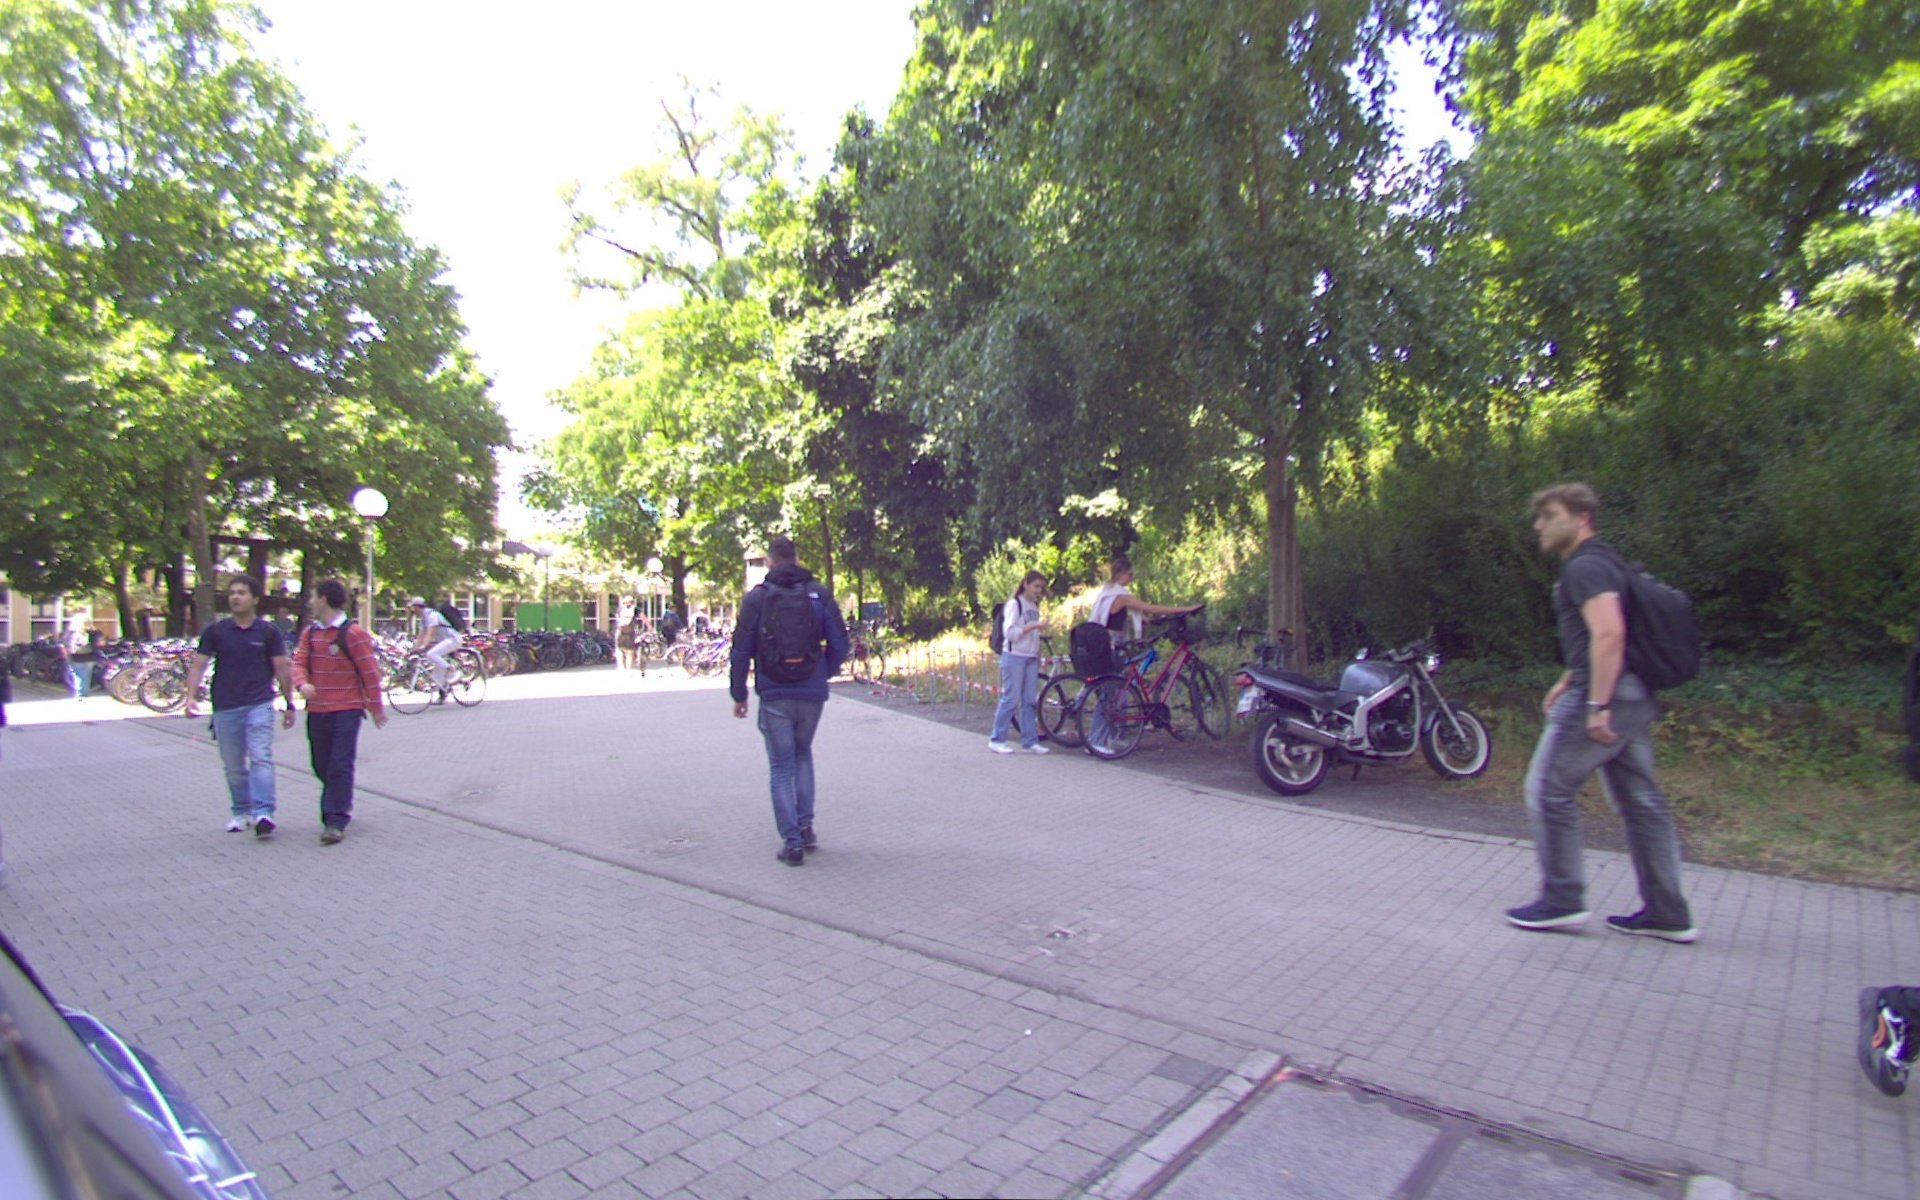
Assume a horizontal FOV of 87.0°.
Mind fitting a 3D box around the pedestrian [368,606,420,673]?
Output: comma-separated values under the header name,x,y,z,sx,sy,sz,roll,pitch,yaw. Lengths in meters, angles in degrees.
name,x,y,z,sx,sy,sz,roll,pitch,yaw
pedestrian,-14.981,1.039,26.793,0.894,1.715,0.770,-2,0,-2

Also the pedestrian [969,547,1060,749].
name,x,y,z,sx,sy,sz,roll,pitch,yaw
pedestrian,0.500,0.424,9.159,0.722,1.737,0.685,-2,-1,5

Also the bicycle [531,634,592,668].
name,x,y,z,sx,sy,sz,roll,pitch,yaw
bicycle,-12.287,1.563,31.216,1.717,0.969,0.452,-2,0,3

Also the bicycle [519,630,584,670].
name,x,y,z,sx,sy,sz,roll,pitch,yaw
bicycle,-12.095,1.466,29.996,1.673,1.091,0.475,-2,0,-6

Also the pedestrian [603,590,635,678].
name,x,y,z,sx,sy,sz,roll,pitch,yaw
pedestrian,-7.411,0.734,22.038,0.604,1.849,1.053,-2,0,-18

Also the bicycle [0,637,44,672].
name,x,y,z,sx,sy,sz,roll,pitch,yaw
bicycle,-32.251,1.871,34.377,0.497,1.116,1.608,-5,-3,41

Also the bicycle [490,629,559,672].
name,x,y,z,sx,sy,sz,roll,pitch,yaw
bicycle,-12.090,1.391,28.103,1.671,1.091,0.475,-2,0,-14

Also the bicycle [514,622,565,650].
name,x,y,z,sx,sy,sz,roll,pitch,yaw
bicycle,-18.005,1.555,43.342,2.007,1.116,0.501,-2,0,9

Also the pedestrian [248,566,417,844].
name,x,y,z,sx,sy,sz,roll,pitch,yaw
pedestrian,-4.297,0.674,7.005,0.707,1.737,1.067,-2,-1,-16

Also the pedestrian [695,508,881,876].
name,x,y,z,sx,sy,sz,roll,pitch,yaw
pedestrian,-0.963,0.468,5.782,0.874,1.871,1.034,-3,0,-8

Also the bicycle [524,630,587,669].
name,x,y,z,sx,sy,sz,roll,pitch,yaw
bicycle,-12.187,1.484,30.523,1.673,1.091,0.475,-2,0,-6

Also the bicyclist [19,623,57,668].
name,x,y,z,sx,sy,sz,roll,pitch,yaw
bicyclist,-37.082,1.820,40.716,0.762,1.729,0.913,0,-1,-8

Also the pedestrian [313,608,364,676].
name,x,y,z,sx,sy,sz,roll,pitch,yaw
pedestrian,-16.222,1.084,26.439,0.892,1.715,0.772,-2,0,-12

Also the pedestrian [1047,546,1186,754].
name,x,y,z,sx,sy,sz,roll,pitch,yaw
pedestrian,1.371,0.414,8.927,0.921,1.737,0.679,-1,-1,-26

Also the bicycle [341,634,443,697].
name,x,y,z,sx,sy,sz,roll,pitch,yaw
bicycle,-10.886,1.235,19.435,1.670,1.091,0.475,-2,0,-29

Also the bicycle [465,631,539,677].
name,x,y,z,sx,sy,sz,roll,pitch,yaw
bicycle,-11.982,1.406,26.507,1.671,1.091,0.475,-2,0,-14

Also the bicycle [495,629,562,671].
name,x,y,z,sx,sy,sz,roll,pitch,yaw
bicycle,-12.182,1.415,28.604,1.671,1.091,0.475,-2,0,-14

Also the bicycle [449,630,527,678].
name,x,y,z,sx,sy,sz,roll,pitch,yaw
bicycle,-11.789,1.342,25.328,1.671,1.091,0.475,-2,0,-14

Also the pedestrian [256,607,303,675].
name,x,y,z,sx,sy,sz,roll,pitch,yaw
pedestrian,-18.598,1.112,27.660,0.701,1.820,0.768,-2,0,8

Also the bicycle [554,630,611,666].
name,x,y,z,sx,sy,sz,roll,pitch,yaw
bicycle,-12.300,1.573,33.003,1.677,1.091,0.474,-2,0,3

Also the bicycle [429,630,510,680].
name,x,y,z,sx,sy,sz,roll,pitch,yaw
bicycle,-11.773,1.304,24.319,1.671,1.091,0.475,-2,0,-14

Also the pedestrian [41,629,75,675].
name,x,y,z,sx,sy,sz,roll,pitch,yaw
pedestrian,-33.584,1.923,37.684,0.868,1.668,0.704,-1,-2,-37

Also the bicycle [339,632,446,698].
name,x,y,z,sx,sy,sz,roll,pitch,yaw
bicycle,-10.620,1.198,18.972,1.695,1.091,0.475,-2,0,-34

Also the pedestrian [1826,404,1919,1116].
name,x,y,z,sx,sy,sz,roll,pitch,yaw
pedestrian,2.795,0.375,2.517,0.903,1.737,0.677,-2,0,39

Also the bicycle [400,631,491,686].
name,x,y,z,sx,sy,sz,roll,pitch,yaw
bicycle,-11.257,1.275,22.174,1.673,1.091,0.475,-2,0,-7

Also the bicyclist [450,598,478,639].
name,x,y,z,sx,sy,sz,roll,pitch,yaw
bicyclist,-23.889,0.867,48.759,0.798,1.906,0.863,-3,-1,15

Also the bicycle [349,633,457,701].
name,x,y,z,sx,sy,sz,roll,pitch,yaw
bicycle,-10.232,1.202,18.616,1.672,1.118,0.475,-2,0,-36

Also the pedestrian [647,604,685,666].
name,x,y,z,sx,sy,sz,roll,pitch,yaw
pedestrian,-8.903,1.049,30.661,0.823,1.829,0.882,-2,0,1

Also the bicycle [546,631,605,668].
name,x,y,z,sx,sy,sz,roll,pitch,yaw
bicycle,-12.250,1.574,32.227,1.677,1.091,0.474,-2,0,3

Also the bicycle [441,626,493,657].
name,x,y,z,sx,sy,sz,roll,pitch,yaw
bicycle,-18.909,1.577,38.820,1.886,1.116,0.501,-2,0,11

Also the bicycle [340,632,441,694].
name,x,y,z,sx,sy,sz,roll,pitch,yaw
bicycle,-11.166,1.222,19.871,1.670,1.091,0.475,-2,0,-29

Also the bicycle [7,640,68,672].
name,x,y,z,sx,sy,sz,roll,pitch,yaw
bicycle,-37.077,2.230,40.715,0.761,1.159,2.112,0,0,-8

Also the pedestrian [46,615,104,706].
name,x,y,z,sx,sy,sz,roll,pitch,yaw
pedestrian,-17.204,1.157,19.688,0.757,1.692,0.909,-1,-2,-37

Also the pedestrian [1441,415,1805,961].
name,x,y,z,sx,sy,sz,roll,pitch,yaw
pedestrian,2.650,0.305,4.106,1.119,1.887,0.676,-1,1,37

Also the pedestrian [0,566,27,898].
name,x,y,z,sx,sy,sz,roll,pitch,yaw
pedestrian,-5.482,0.709,5.337,0.731,1.737,0.677,-2,0,39

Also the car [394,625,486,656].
name,x,y,z,sx,sy,sz,roll,pitch,yaw
car,-30.647,2.370,59.737,1.836,1.629,4.480,-1,0,39

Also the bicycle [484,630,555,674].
name,x,y,z,sx,sy,sz,roll,pitch,yaw
bicycle,-11.992,1.410,27.584,1.671,1.091,0.475,-2,0,-14

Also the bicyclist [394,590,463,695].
name,x,y,z,sx,sy,sz,roll,pitch,yaw
bicyclist,-8.310,0.651,15.830,0.593,1.580,0.714,-2,0,30

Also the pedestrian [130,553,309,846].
name,x,y,z,sx,sy,sz,roll,pitch,yaw
pedestrian,-5.067,0.640,6.990,0.675,1.849,0.943,-2,-1,-15

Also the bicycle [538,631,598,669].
name,x,y,z,sx,sy,sz,roll,pitch,yaw
bicycle,-12.276,1.566,31.718,1.677,1.091,0.474,-2,0,3

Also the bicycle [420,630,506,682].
name,x,y,z,sx,sy,sz,roll,pitch,yaw
bicycle,-11.419,1.275,23.288,1.672,1.091,0.475,-2,0,-11

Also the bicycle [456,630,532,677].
name,x,y,z,sx,sy,sz,roll,pitch,yaw
bicycle,-11.874,1.355,25.808,1.671,1.091,0.475,-2,0,-14

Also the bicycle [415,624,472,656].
name,x,y,z,sx,sy,sz,roll,pitch,yaw
bicycle,-18.901,1.465,37.025,1.885,1.116,0.501,-2,0,8

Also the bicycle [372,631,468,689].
name,x,y,z,sx,sy,sz,roll,pitch,yaw
bicycle,-11.192,1.236,21.016,1.673,1.091,0.475,-2,0,-7

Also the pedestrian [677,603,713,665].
name,x,y,z,sx,sy,sz,roll,pitch,yaw
pedestrian,-8.036,1.005,30.710,0.759,1.817,0.983,-2,0,1
